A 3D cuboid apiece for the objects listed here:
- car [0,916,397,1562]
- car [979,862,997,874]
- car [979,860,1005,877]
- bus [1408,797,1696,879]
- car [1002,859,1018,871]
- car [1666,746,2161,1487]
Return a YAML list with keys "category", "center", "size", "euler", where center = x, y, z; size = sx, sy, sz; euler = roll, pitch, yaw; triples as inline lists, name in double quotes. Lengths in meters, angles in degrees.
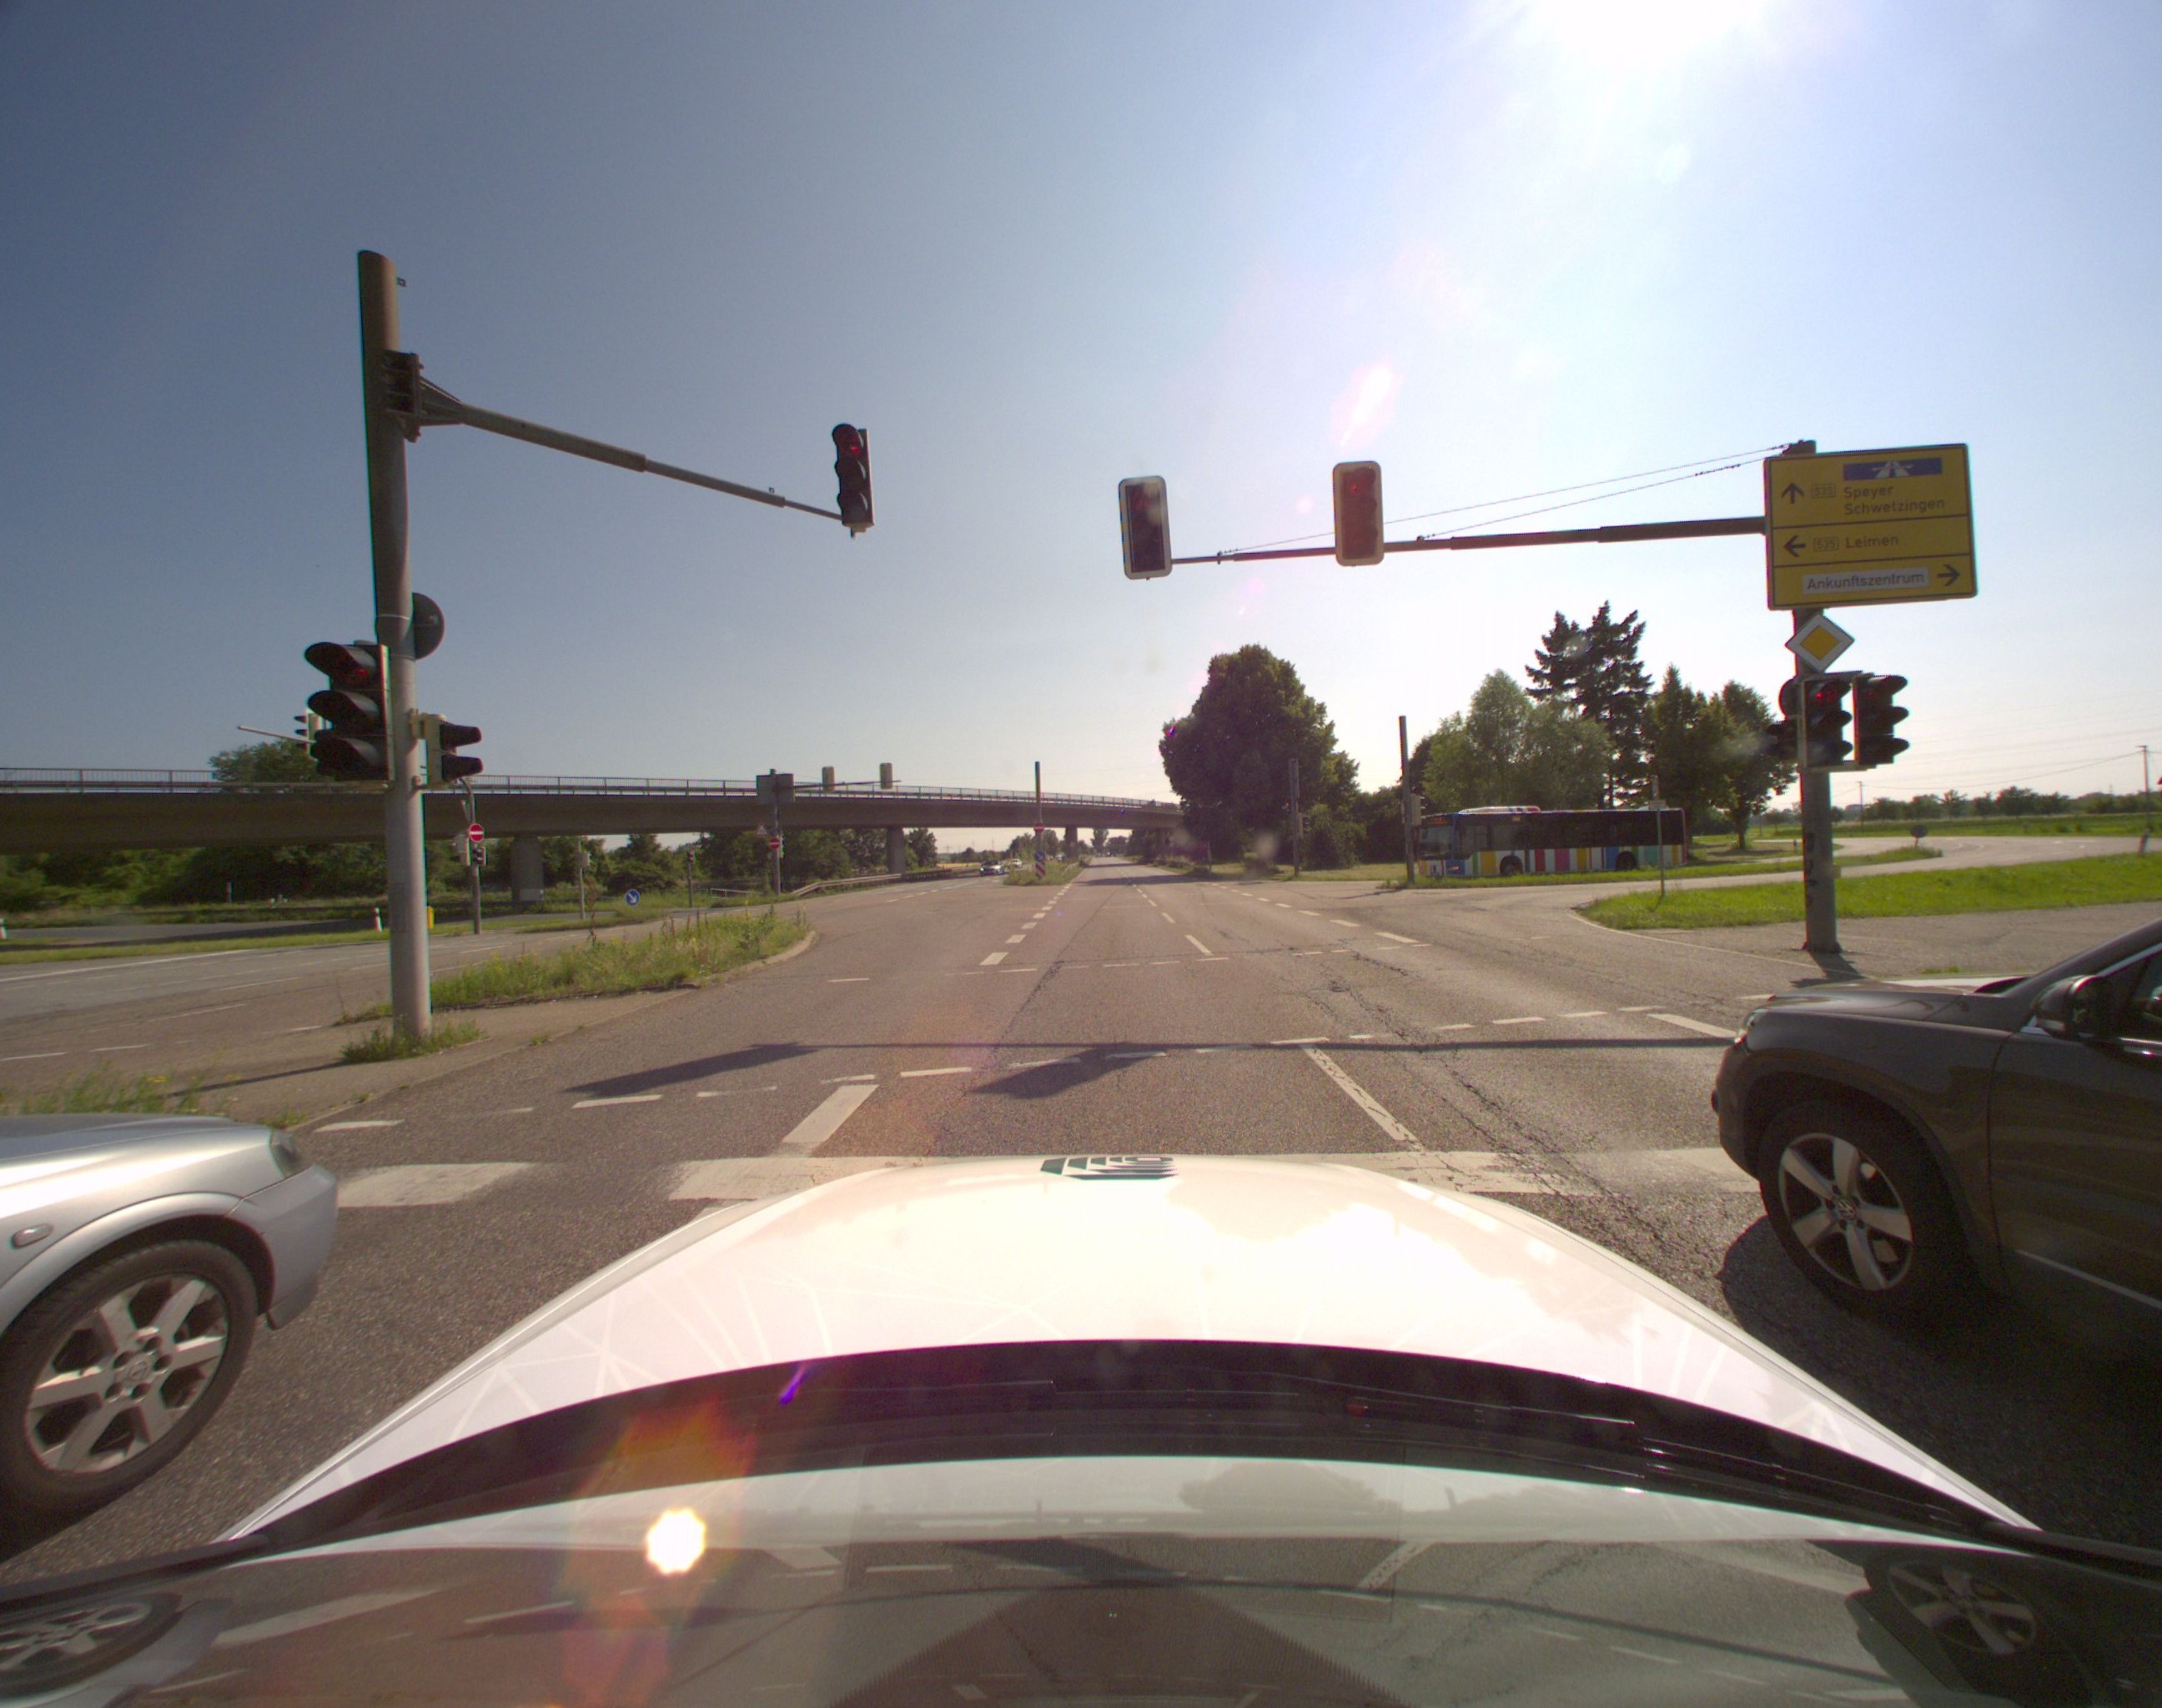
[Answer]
- category: "car"
  center: [-3.260, 0.918, 0.733]
  size: [1.667, 1.335, 4.100]
  euler: [-3, 0, 2]
- category: "car"
  center: [-11.470, 1.708, 100.363]
  size: [1.634, 1.385, 4.241]
  euler: [-3, 0, 1]
- category: "car"
  center: [-8.472, 1.383, 77.879]
  size: [1.850, 1.448, 4.241]
  euler: [-5, 0, 1]
- category: "bus"
  center: [20.230, -0.711, 35.000]
  size: [11.954, 2.877, 2.928]
  euler: [-3, 0, -14]
- category: "car"
  center: [-10.638, 1.658, 122.348]
  size: [1.784, 1.628, 4.000]
  euler: [-3, 0, 1]
- category: "car"
  center: [3.272, 0.577, 1.303]
  size: [1.749, 1.655, 4.147]
  euler: [-1, 0, 1]
